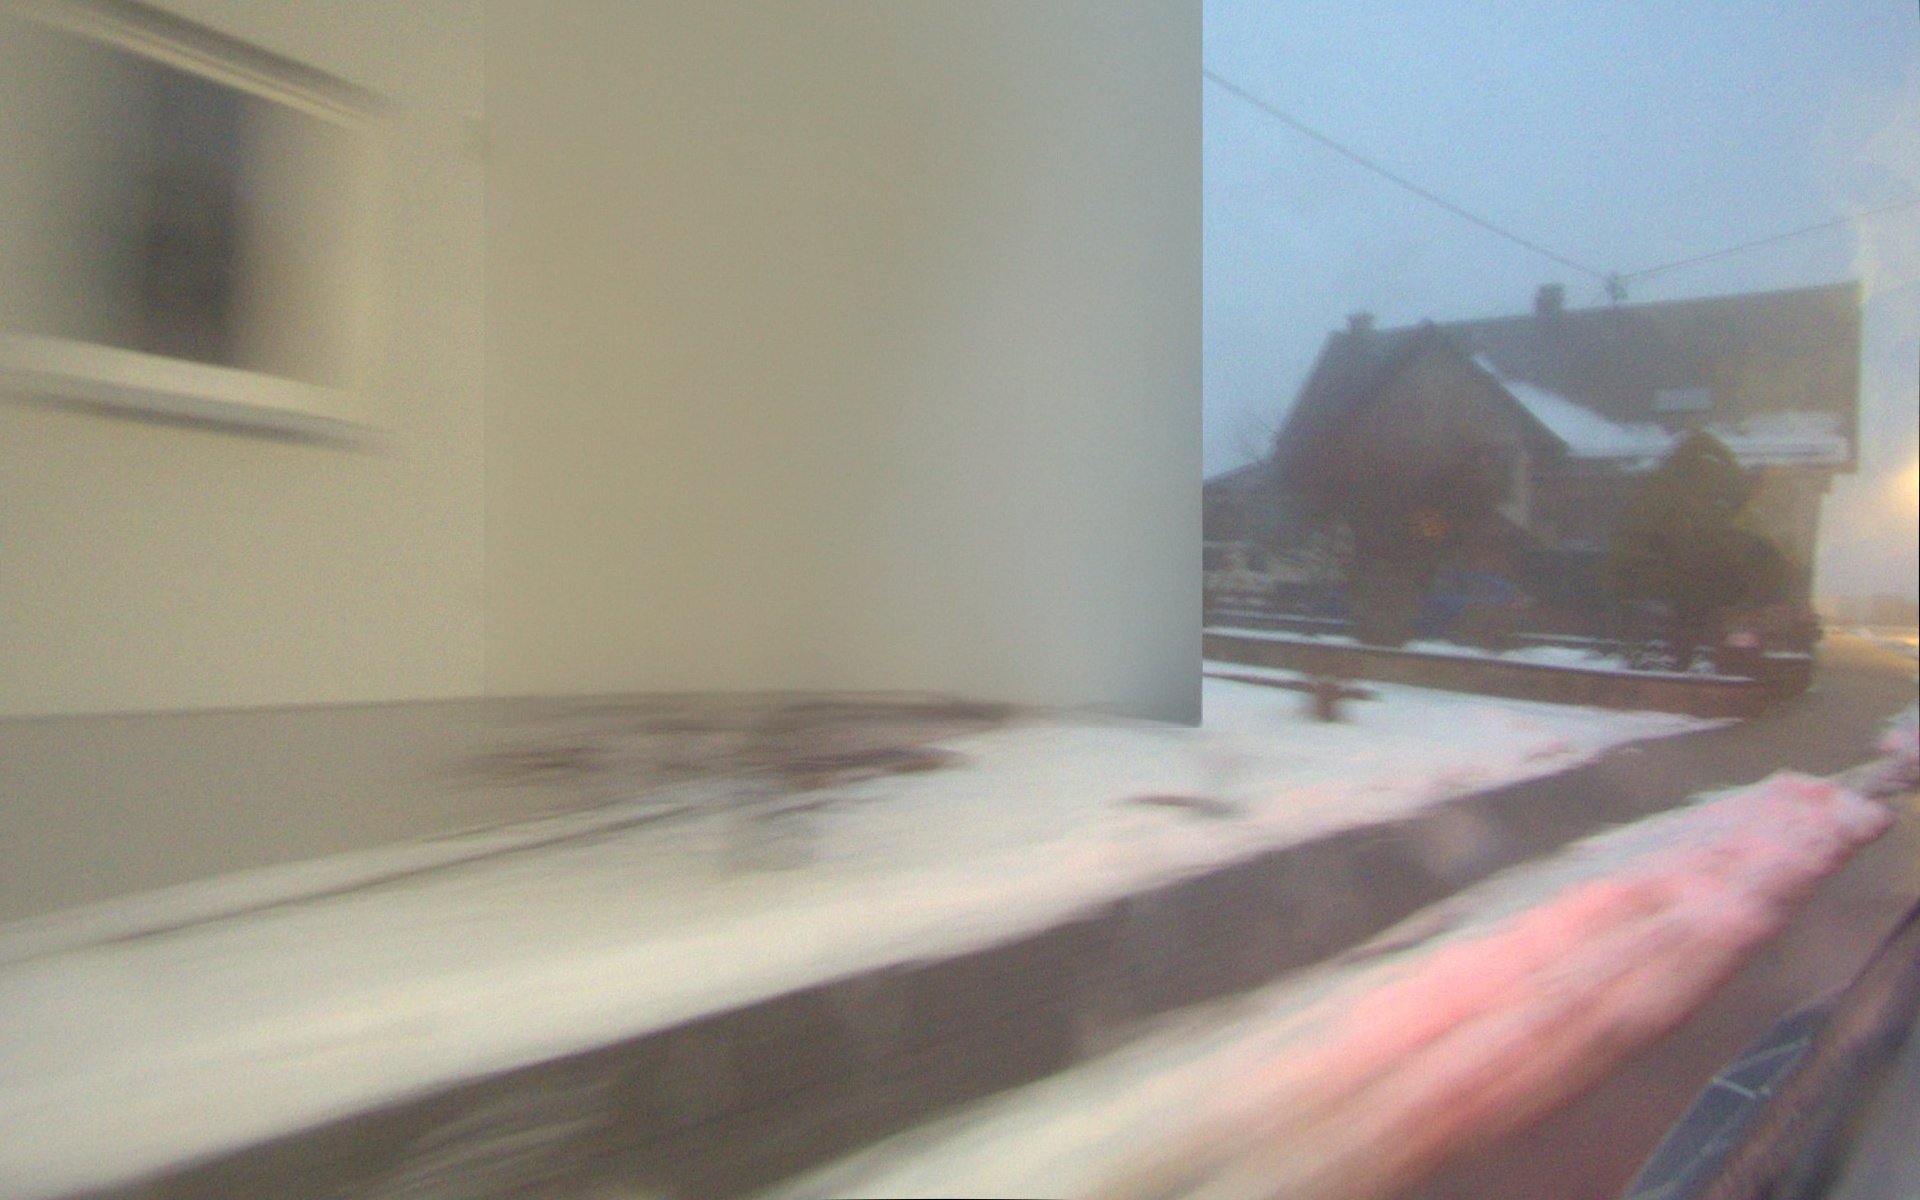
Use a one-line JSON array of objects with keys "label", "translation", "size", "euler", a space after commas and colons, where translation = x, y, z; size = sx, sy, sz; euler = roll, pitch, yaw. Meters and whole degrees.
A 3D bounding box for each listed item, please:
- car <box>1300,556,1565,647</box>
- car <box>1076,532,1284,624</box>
[{"label": "car", "translation": [9.276, -0.033, 20.063], "size": [4.442, 1.606, 1.971], "euler": [1, 2, 40]}, {"label": "car", "translation": [5.076, -0.496, 23.656], "size": [4.366, 1.950, 1.971], "euler": [1, 1, 41]}]
